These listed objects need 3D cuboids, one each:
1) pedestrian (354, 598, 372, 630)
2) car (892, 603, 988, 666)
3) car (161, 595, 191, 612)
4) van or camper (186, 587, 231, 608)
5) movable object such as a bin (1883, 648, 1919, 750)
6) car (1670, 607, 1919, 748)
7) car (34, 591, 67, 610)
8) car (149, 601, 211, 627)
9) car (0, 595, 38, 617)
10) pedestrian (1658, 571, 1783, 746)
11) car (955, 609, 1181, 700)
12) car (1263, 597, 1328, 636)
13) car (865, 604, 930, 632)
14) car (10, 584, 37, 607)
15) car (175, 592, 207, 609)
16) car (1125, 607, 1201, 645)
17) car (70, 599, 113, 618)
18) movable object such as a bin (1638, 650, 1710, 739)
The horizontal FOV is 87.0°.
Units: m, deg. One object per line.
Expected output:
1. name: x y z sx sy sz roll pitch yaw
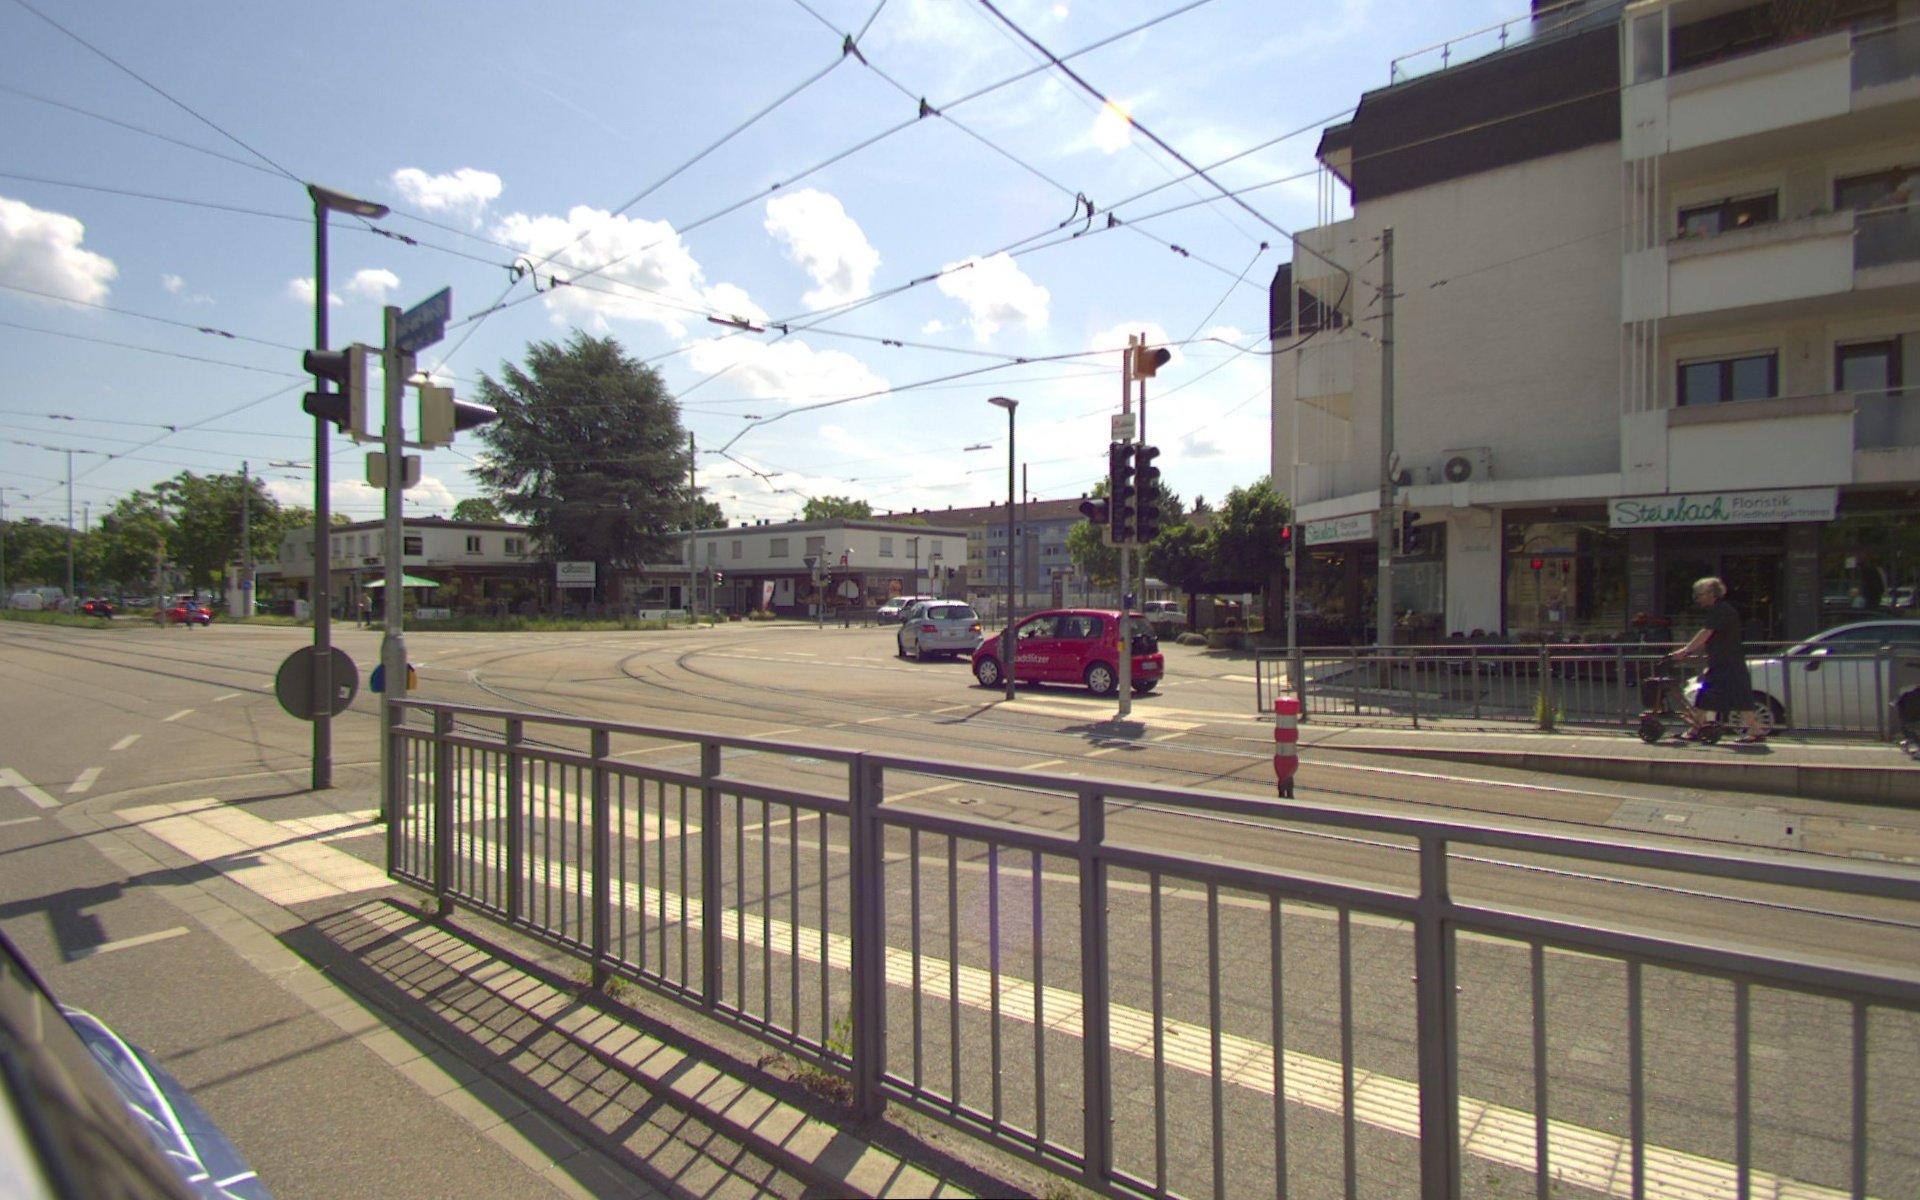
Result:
1. pedestrian: -34.665 0.824 58.745 0.679 1.788 0.485 0 4 21
2. car: -0.657 0.903 28.230 1.712 1.628 4.617 1 -1 -14
3. car: -83.957 0.374 108.356 3.996 1.706 1.723 0 -1 39
4. van or camper: -113.899 -0.357 153.458 2.245 3.141 5.093 0 -1 40
5. movable object such as a bin: 7.938 0.803 8.203 0.619 0.786 0.668 0 -1 38
6. car: 10.411 0.852 11.410 3.788 1.467 1.633 0 -2 42
7. car: -96.927 0.072 107.834 3.996 1.980 1.942 0 -1 39
8. car: -45.689 0.788 59.210 4.819 1.461 1.973 0 -1 41
9. car: -84.312 0.538 90.593 4.547 1.890 1.841 0 -1 37
10. pedestrian: 7.282 0.533 9.691 0.919 1.572 0.777 0 -1 40
11. car: 1.889 0.905 18.336 3.851 1.455 1.638 0 -1 41
12. car: 21.483 1.043 64.650 2.214 2.356 5.151 0 -1 39
13. car: -3.974 1.125 64.976 1.998 1.741 3.947 0 -1 39
14. car: -108.328 -0.466 117.018 3.996 2.608 1.723 0 -1 39
15. car: -79.792 0.056 105.040 3.996 1.706 1.723 0 -1 39
16. car: 10.426 1.313 51.714 1.997 1.853 4.761 0 -1 37
17. car: -64.040 0.633 74.615 3.997 1.364 1.761 0 -1 40
18. movable object such as a bin: 6.966 0.902 9.869 0.537 0.786 0.668 0 -1 38
